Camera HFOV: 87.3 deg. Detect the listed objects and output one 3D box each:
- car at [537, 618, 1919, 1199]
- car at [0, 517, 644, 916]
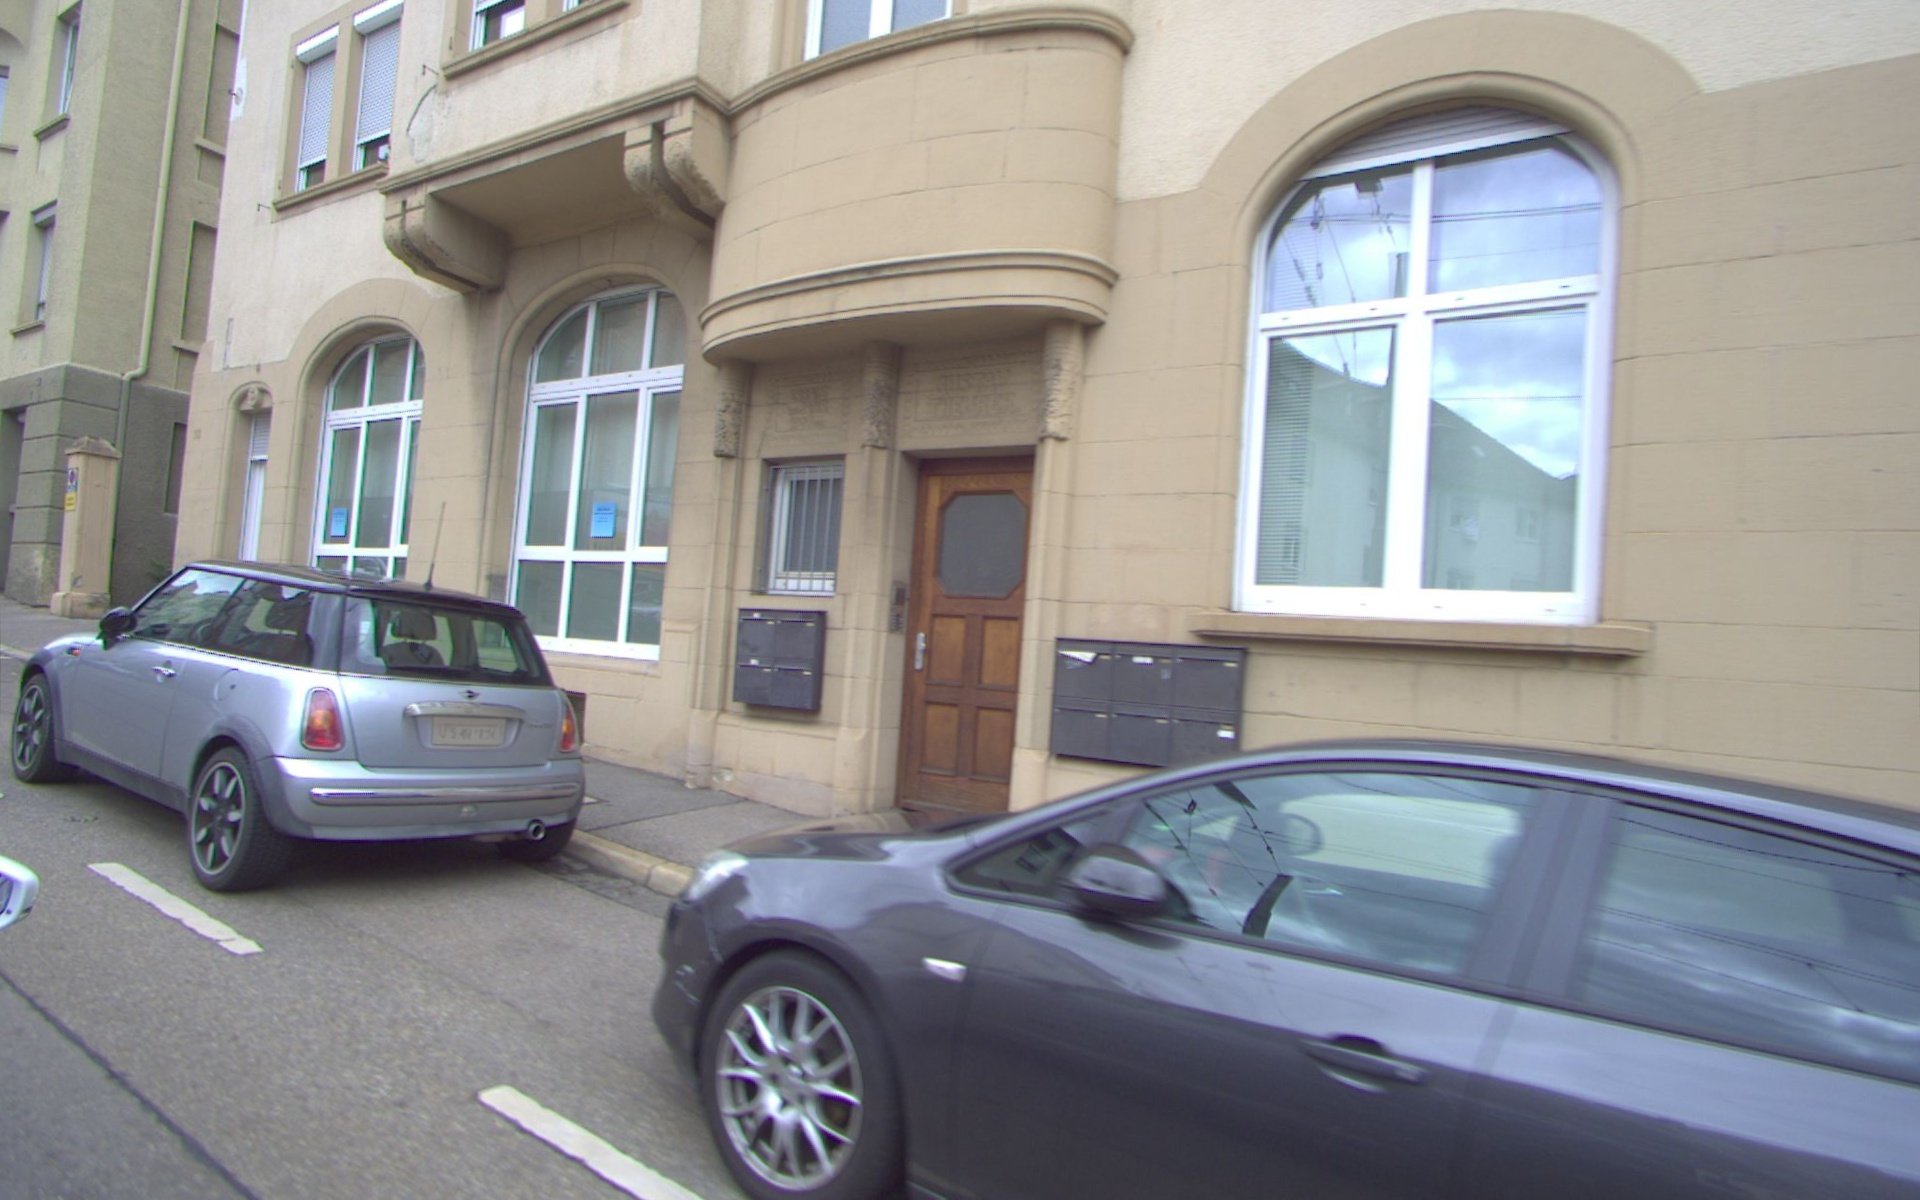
[{"bbox_3d":[1.048,1.047,2.680,4.099,1.418,1.845,6,-4,32],"label":"car"},{"bbox_3d":[-3.774,0.497,5.722,3.607,1.419,1.700,7,-4,33],"label":"car"}]
